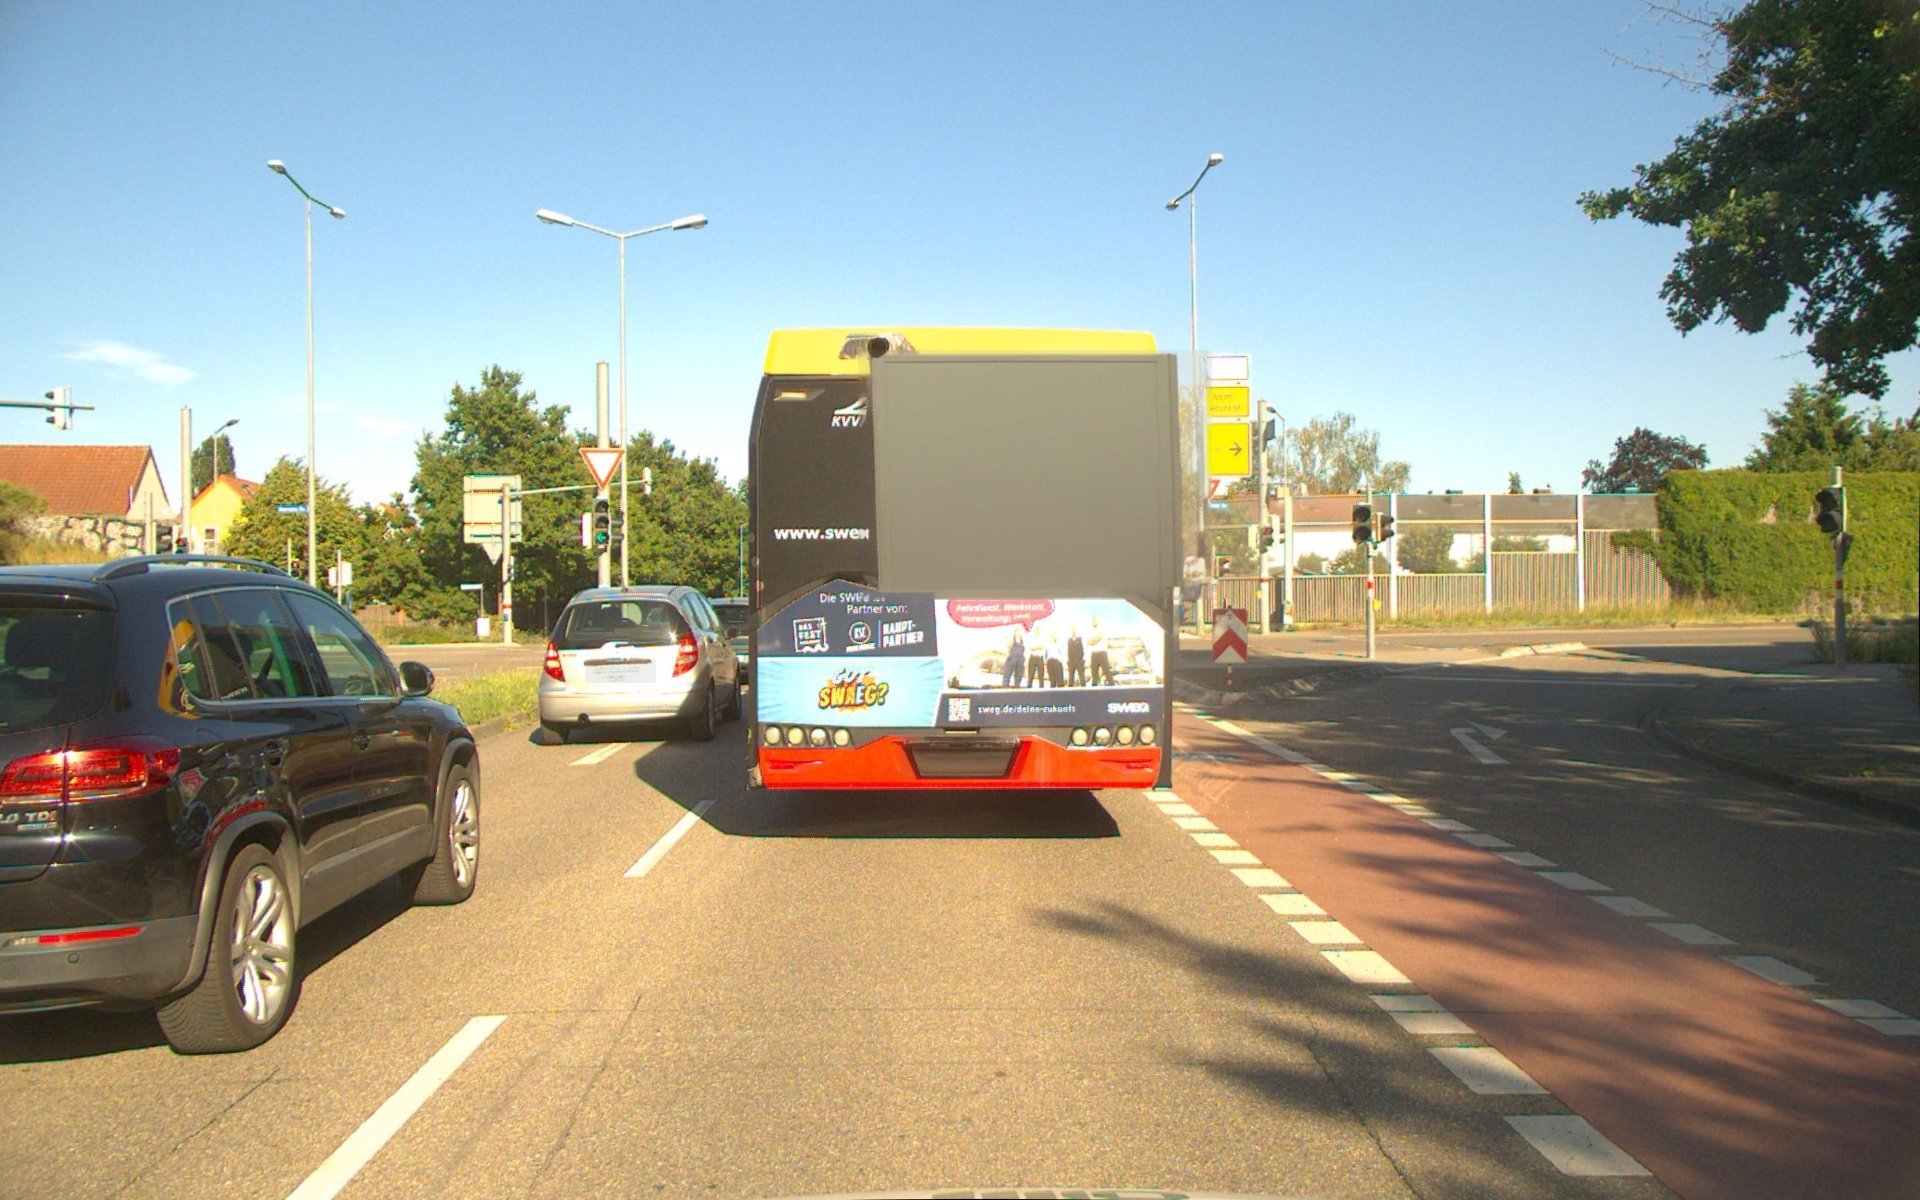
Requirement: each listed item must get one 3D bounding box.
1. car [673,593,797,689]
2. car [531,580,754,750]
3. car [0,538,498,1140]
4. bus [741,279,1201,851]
[{"bbox_3d":[-3.792,0.649,28.420,1.658,1.484,3.750,-2,0,-1],"label":"car"},{"bbox_3d":[-3.376,0.632,18.305,1.725,1.617,3.999,-2,0,-1],"label":"car"},{"bbox_3d":[-3.249,0.692,6.637,1.736,1.682,3.998,-2,0,-2],"label":"car"},{"bbox_3d":[0.029,-0.248,15.310,2.589,3.222,11.860,0,0,0],"label":"bus"}]
